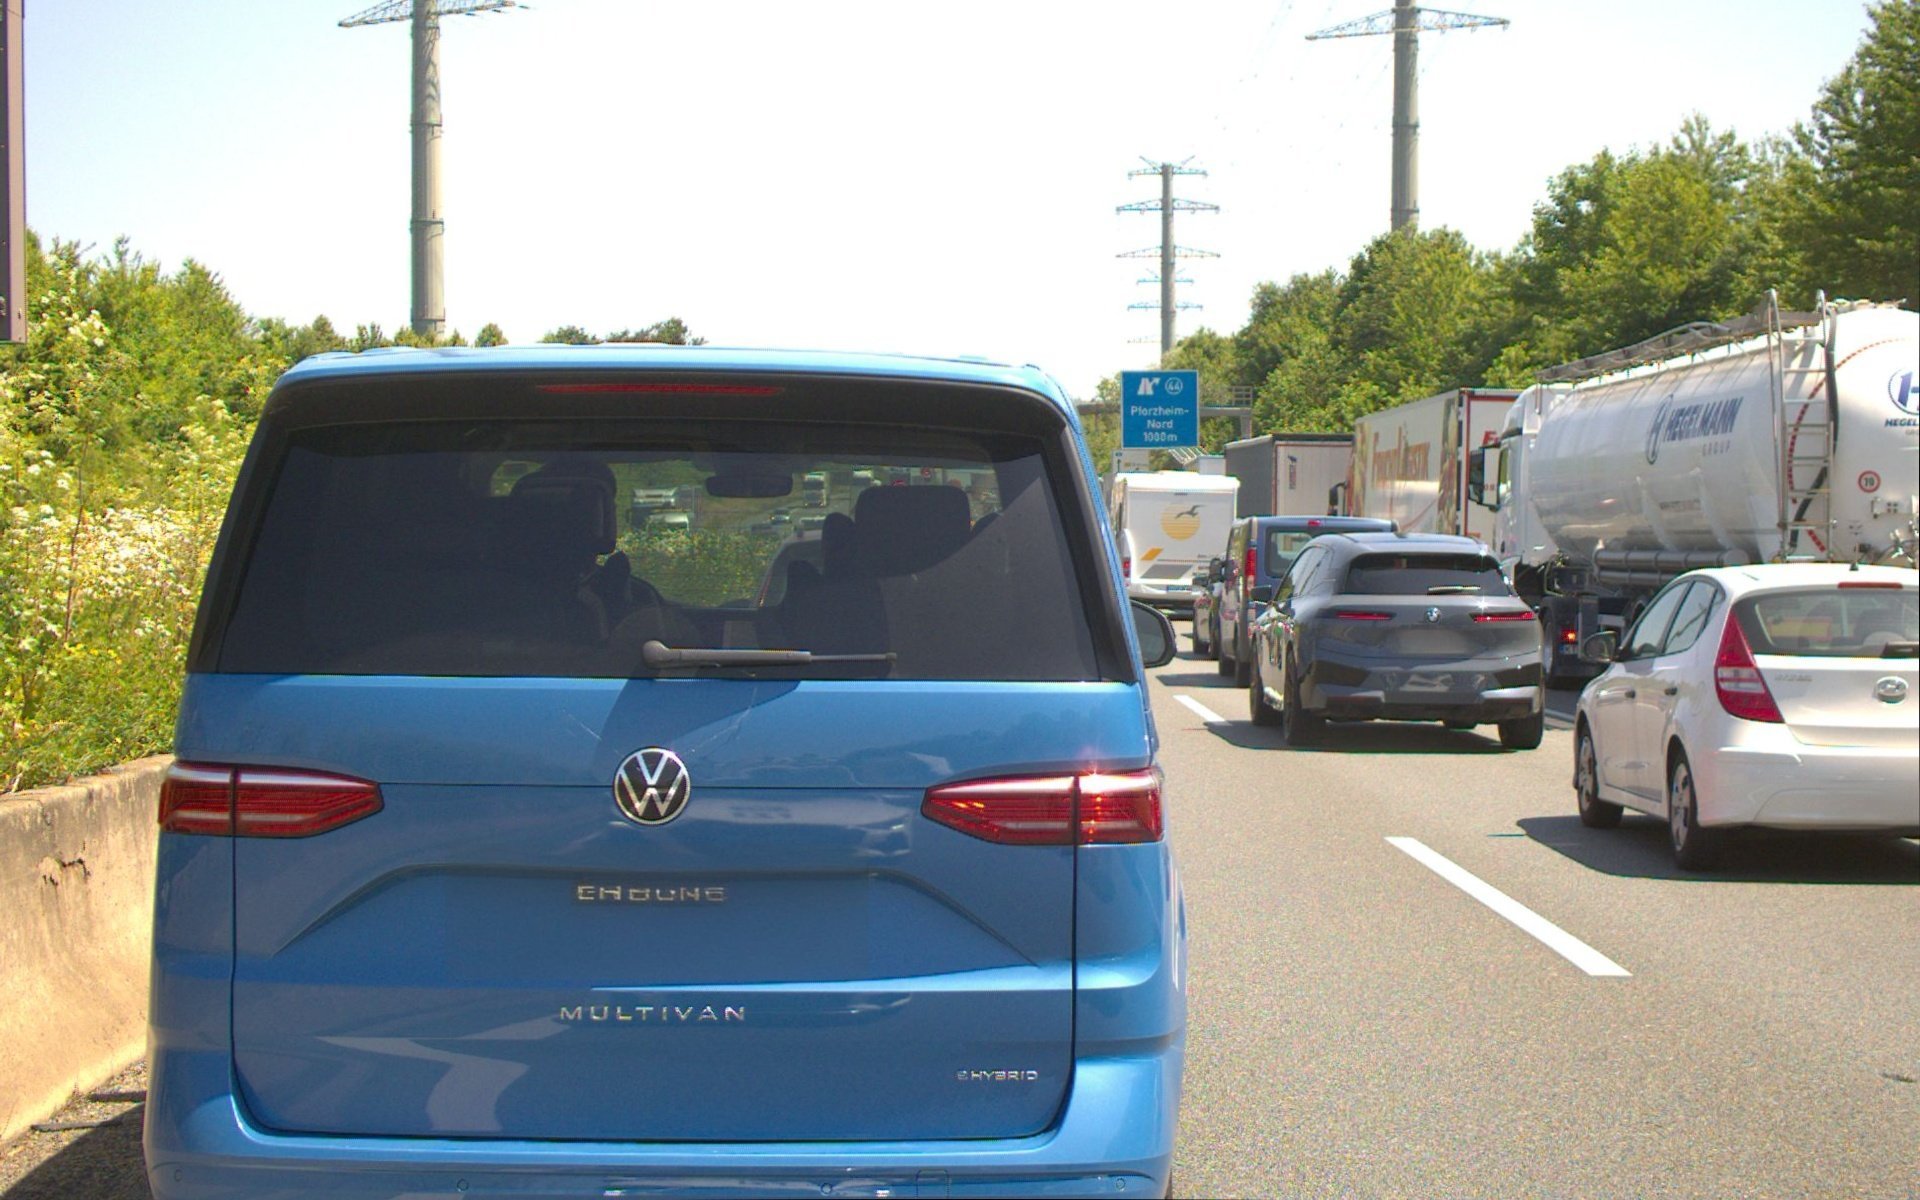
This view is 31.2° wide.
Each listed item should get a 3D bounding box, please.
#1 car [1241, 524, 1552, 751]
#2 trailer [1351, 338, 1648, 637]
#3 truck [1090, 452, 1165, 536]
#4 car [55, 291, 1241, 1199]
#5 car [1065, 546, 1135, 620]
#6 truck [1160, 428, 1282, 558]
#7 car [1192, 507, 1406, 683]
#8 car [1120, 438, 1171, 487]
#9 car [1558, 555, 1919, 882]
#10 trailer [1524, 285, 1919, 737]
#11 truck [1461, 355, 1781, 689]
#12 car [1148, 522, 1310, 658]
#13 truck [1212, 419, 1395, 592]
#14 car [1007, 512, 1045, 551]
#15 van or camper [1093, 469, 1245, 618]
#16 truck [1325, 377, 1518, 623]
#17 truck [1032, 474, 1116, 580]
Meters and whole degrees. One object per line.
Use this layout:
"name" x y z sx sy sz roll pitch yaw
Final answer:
"car" 3.493 0.282 28.335 1.999 1.709 4.625 0 0 1
"trailer" 8.756 -1.763 57.472 2.912 4.453 12.155 0 1 -1
"truck" 9.337 -5.877 192.725 3.566 4.502 10.294 0 0 -1
"car" -0.522 0.416 7.654 1.920 1.880 4.000 1 1 0
"car" 3.877 -0.456 95.917 1.836 1.992 4.000 -1 0 1
"truck" 8.008 -3.203 107.051 2.895 3.753 13.345 0 0 1
"car" 3.925 -0.060 40.451 1.923 1.919 4.236 -1 0 -2
"car" 7.996 -5.943 148.695 1.993 2.007 4.000 0 0 0
"car" 4.291 0.534 17.625 1.817 1.480 4.000 0 0 1
"trailer" 8.126 -0.836 34.968 2.761 3.831 11.487 0 1 -1
"truck" 8.014 -0.932 42.347 2.793 3.823 5.572 0 1 -1
"car" 3.991 -0.148 51.570 1.923 1.919 4.236 -1 0 -2
"truck" 8.080 -2.123 82.882 3.006 3.753 15.713 0 0 1
"car" 3.690 -3.832 192.886 1.993 2.118 4.000 0 0 -1
"van or camper" 4.379 -1.173 73.424 2.957 3.011 7.102 0 0 1
"truck" 8.688 -1.857 65.273 2.912 4.453 5.143 0 1 -1
"truck" 4.164 -2.646 127.299 2.895 3.753 10.140 0 0 1
